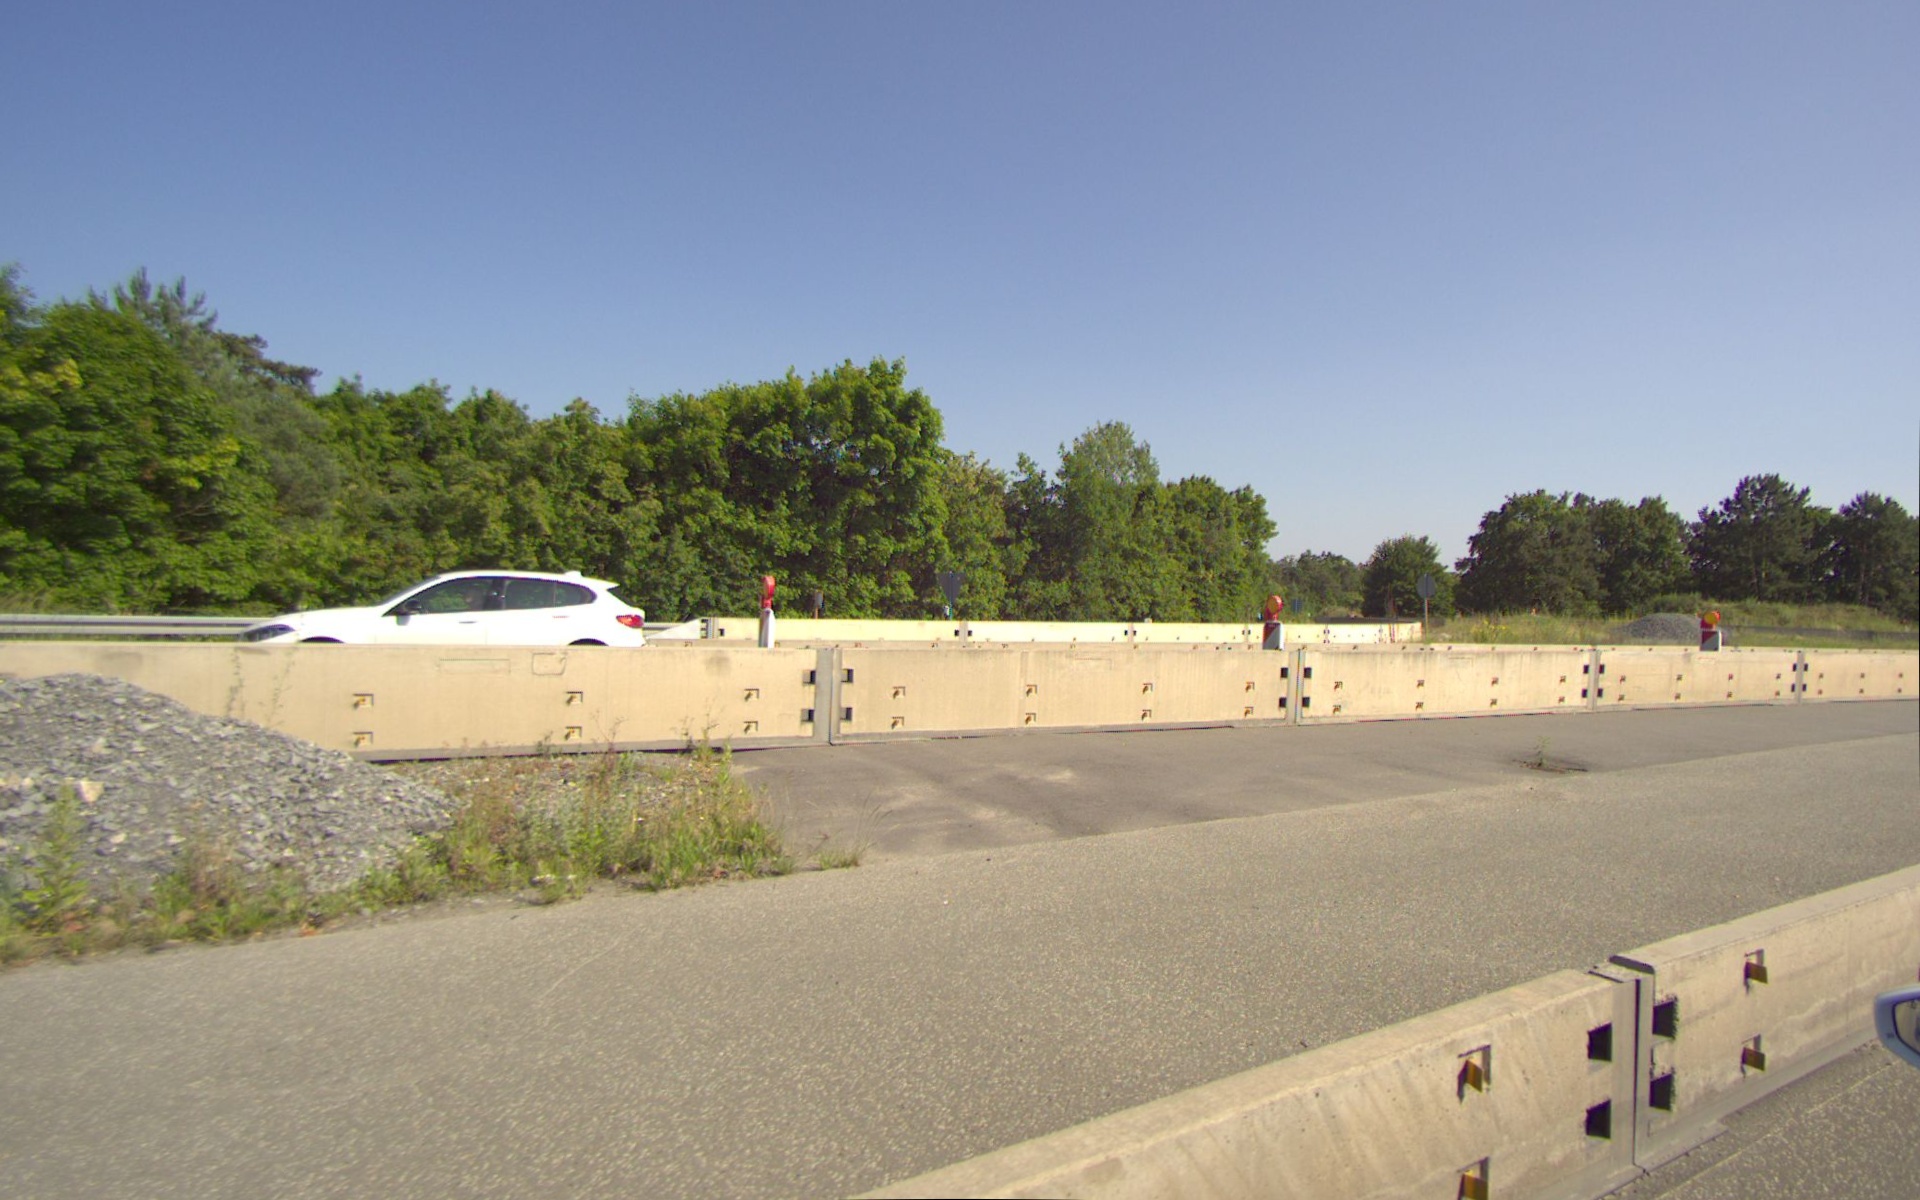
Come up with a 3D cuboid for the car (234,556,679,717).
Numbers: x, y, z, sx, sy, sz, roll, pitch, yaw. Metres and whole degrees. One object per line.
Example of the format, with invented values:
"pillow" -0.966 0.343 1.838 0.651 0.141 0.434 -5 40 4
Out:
"car" -5.753 0.403 11.941 4.381 1.629 1.811 1 0 -27
